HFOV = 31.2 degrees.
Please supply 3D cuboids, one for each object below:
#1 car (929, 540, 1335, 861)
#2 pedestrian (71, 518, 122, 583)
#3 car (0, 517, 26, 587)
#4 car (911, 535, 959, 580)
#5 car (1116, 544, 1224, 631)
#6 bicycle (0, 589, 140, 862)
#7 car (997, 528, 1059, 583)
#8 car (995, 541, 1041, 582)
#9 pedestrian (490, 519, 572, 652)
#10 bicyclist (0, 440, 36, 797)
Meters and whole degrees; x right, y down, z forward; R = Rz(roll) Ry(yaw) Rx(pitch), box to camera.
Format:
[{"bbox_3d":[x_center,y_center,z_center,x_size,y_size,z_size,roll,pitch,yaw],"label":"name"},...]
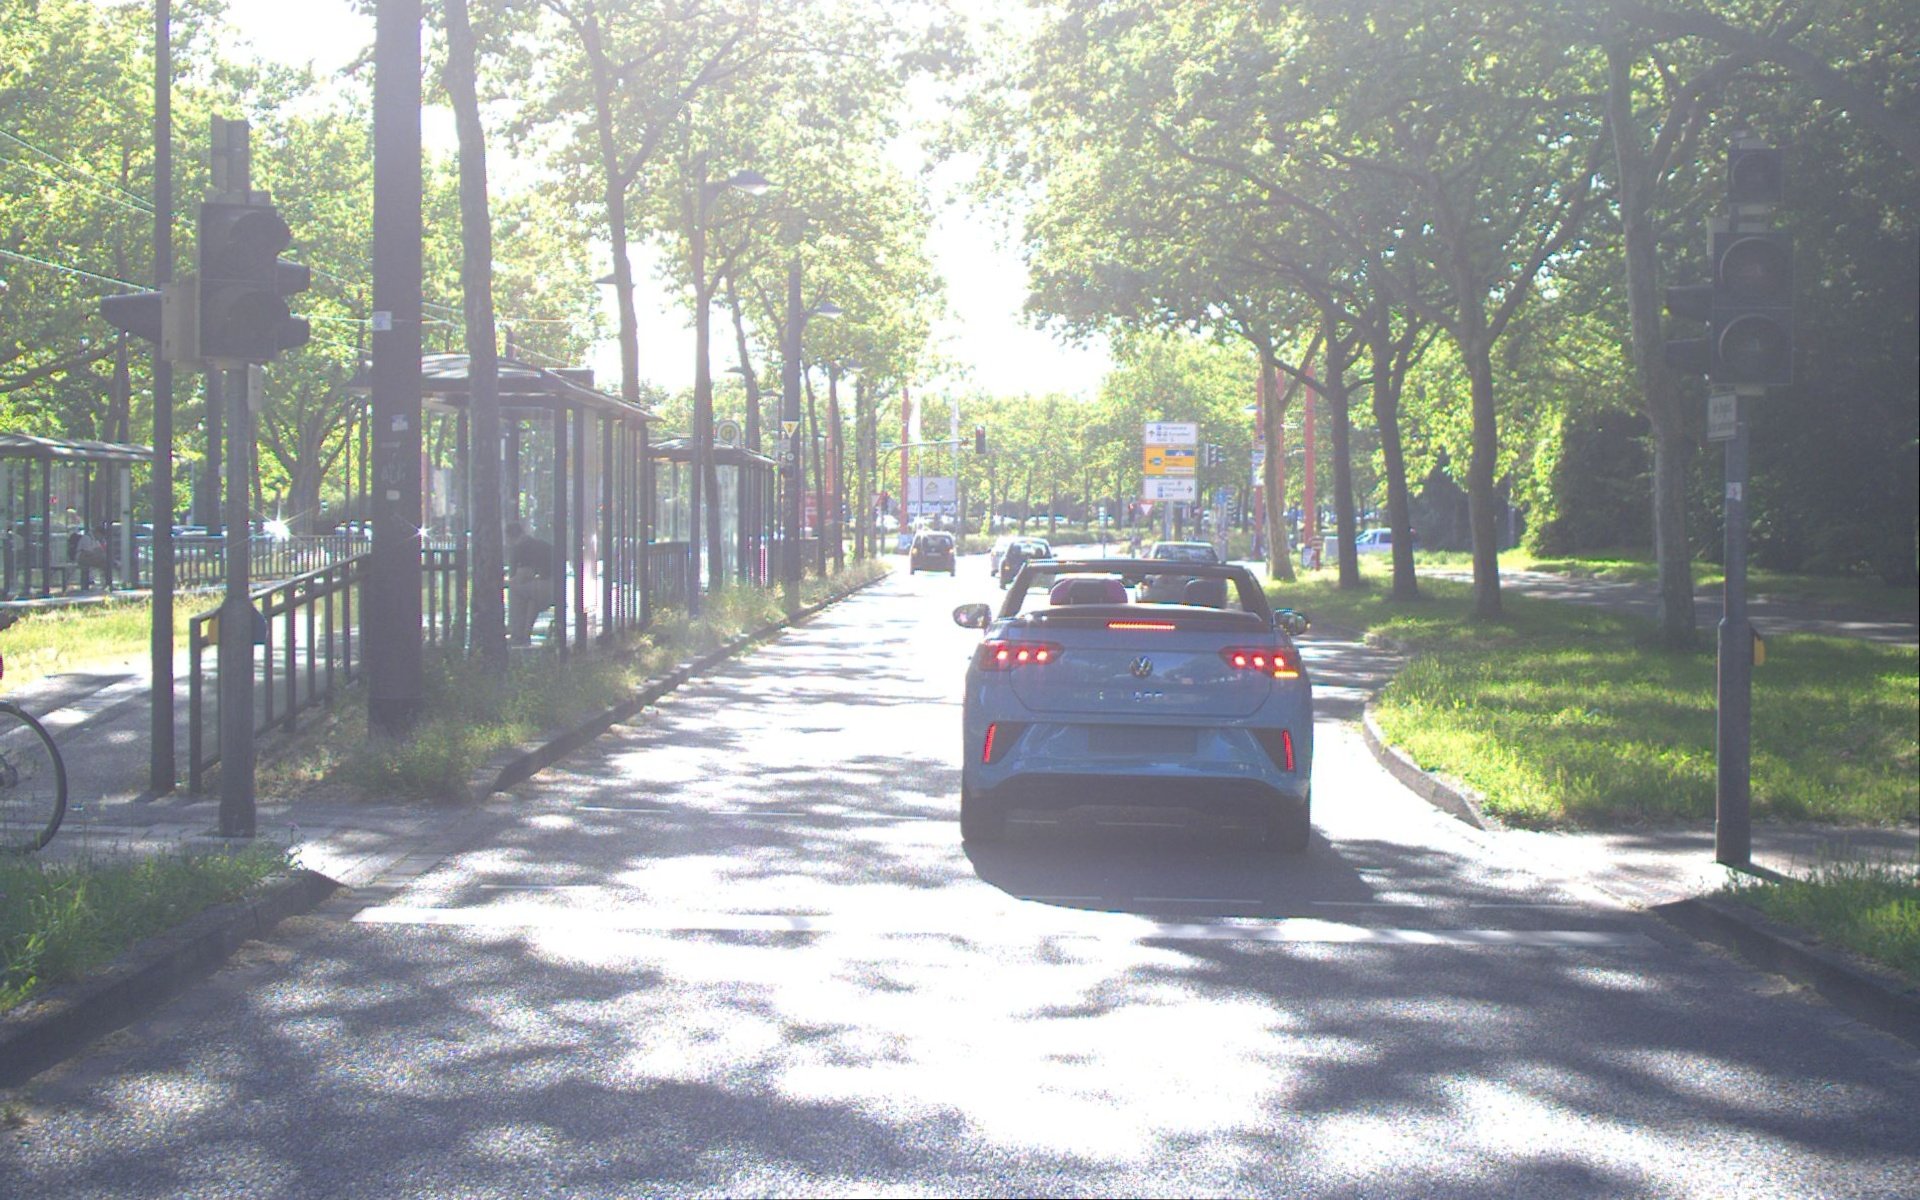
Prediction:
[{"bbox_3d":[0.817,0.454,18.703,1.775,1.478,4.101,2,1,-3],"label":"car"},{"bbox_3d":[-15.389,-0.877,61.248,0.694,1.123,0.662,-2,0,1],"label":"pedestrian"},{"bbox_3d":[-23.438,-1.117,78.066,1.575,1.563,4.050,5,3,41],"label":"car"},{"bbox_3d":[-0.955,-1.592,128.104,1.710,1.598,3.350,1,1,-1],"label":"car"},{"bbox_3d":[4.554,-0.293,75.161,1.982,1.786,4.614,2,1,0],"label":"car"},{"bbox_3d":[-4.776,0.518,15.609,1.832,1.143,0.814,3,2,12],"label":"bicycle"},{"bbox_3d":[1.985,-1.319,101.249,1.639,1.489,3.504,2,2,-1],"label":"car"},{"bbox_3d":[2.188,-1.473,130.500,1.678,1.470,4.130,2,1,1],"label":"car"},{"bbox_3d":[-4.130,-0.143,33.136,0.733,1.248,0.588,2,1,-6],"label":"pedestrian"},{"bbox_3d":[-4.850,0.065,15.596,0.954,1.626,0.814,3,2,12],"label":"bicyclist"}]
